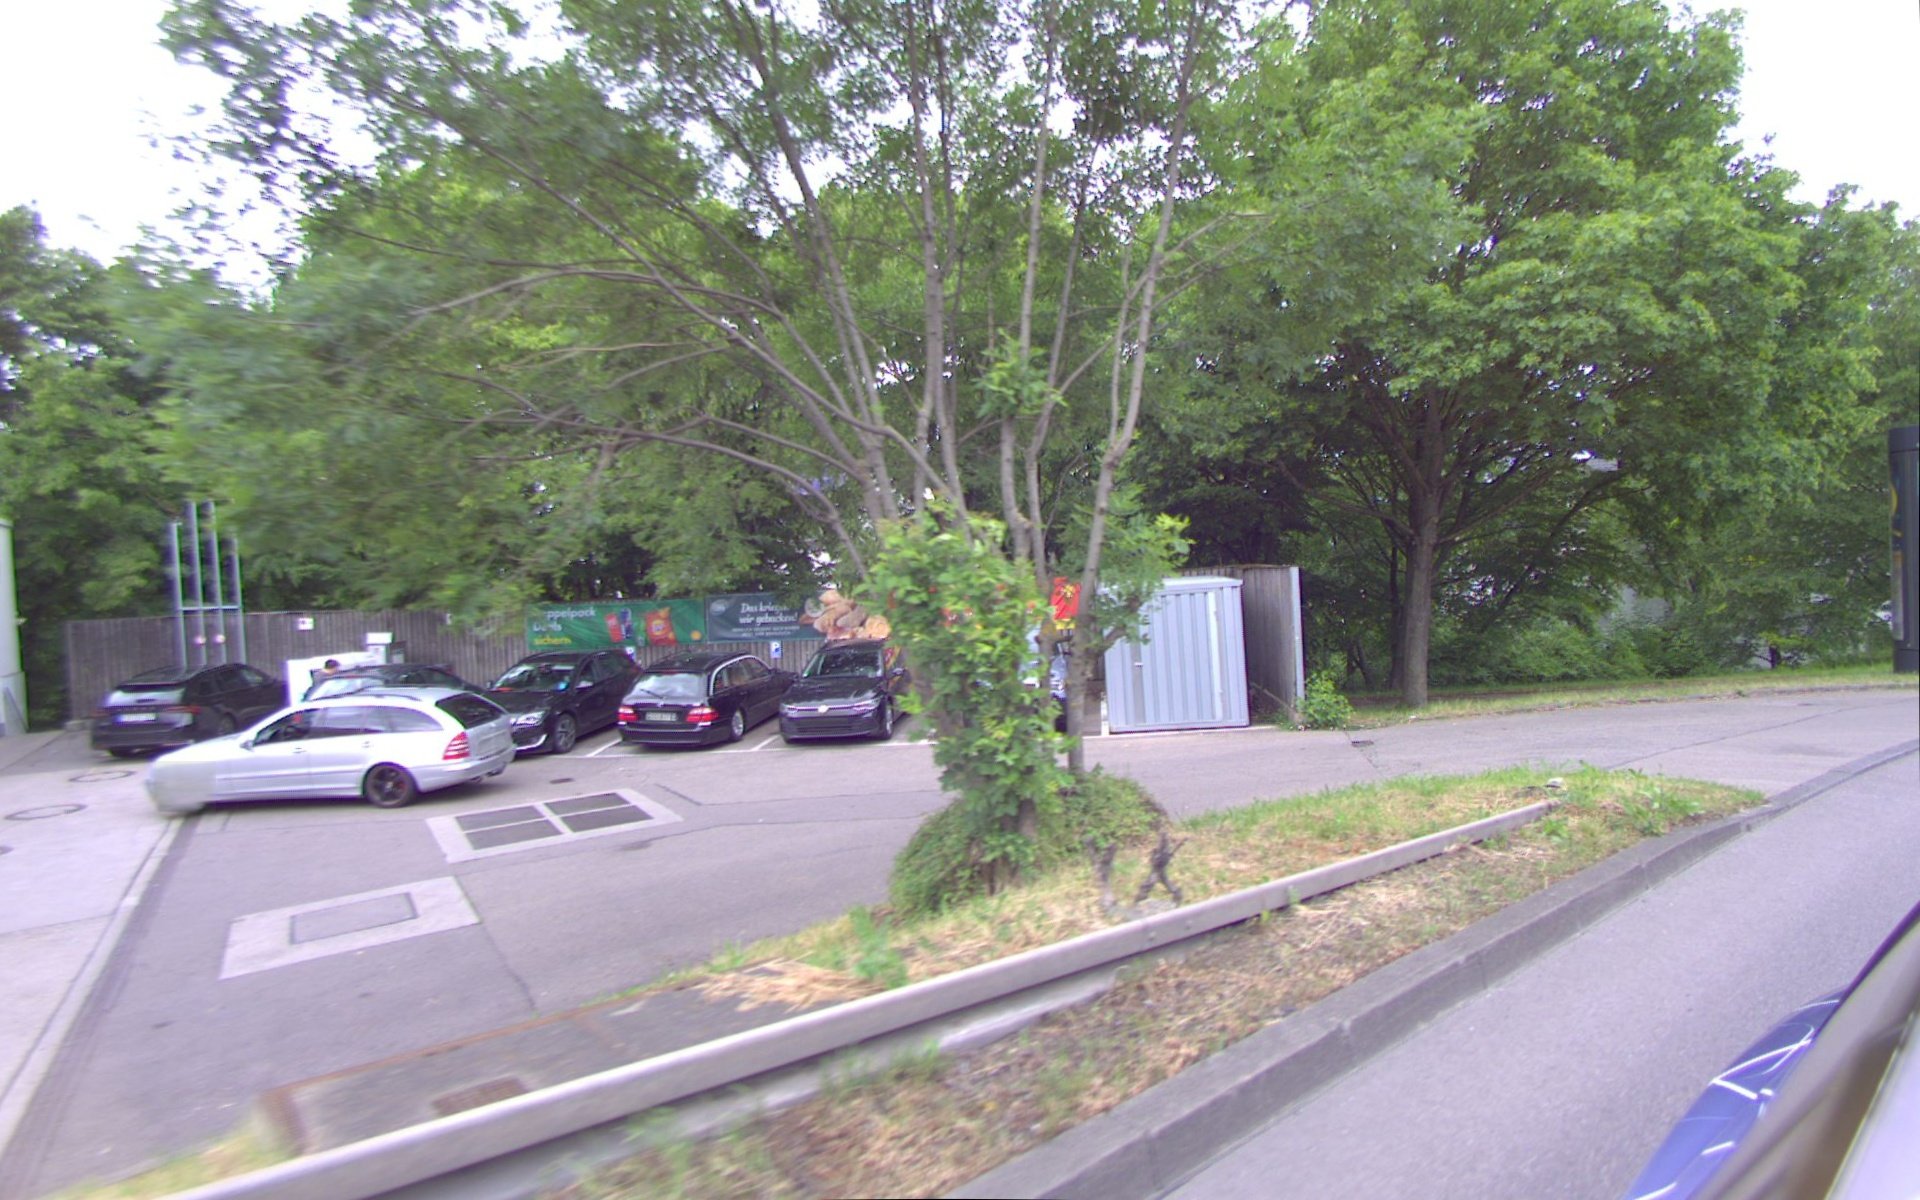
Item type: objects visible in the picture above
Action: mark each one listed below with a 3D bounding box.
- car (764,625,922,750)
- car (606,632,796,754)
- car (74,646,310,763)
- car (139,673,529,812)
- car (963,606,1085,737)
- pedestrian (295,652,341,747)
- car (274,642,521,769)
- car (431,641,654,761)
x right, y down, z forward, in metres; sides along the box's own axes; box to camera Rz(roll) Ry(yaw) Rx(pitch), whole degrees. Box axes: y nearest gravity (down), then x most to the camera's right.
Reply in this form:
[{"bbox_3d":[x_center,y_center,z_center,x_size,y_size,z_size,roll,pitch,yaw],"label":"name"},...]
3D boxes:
[{"bbox_3d":[-1.834,1.371,17.268,1.705,1.443,4.289,-4,3,6],"label":"car"},{"bbox_3d":[-4.368,1.522,17.815,1.705,1.453,4.287,-4,3,7],"label":"car"},{"bbox_3d":[-13.860,1.798,18.594,1.688,1.453,4.115,-2,3,-9],"label":"car"},{"bbox_3d":[-8.240,1.860,13.572,4.212,1.449,1.602,-2,2,1],"label":"car"},{"bbox_3d":[1.081,1.088,17.206,1.704,1.610,4.291,-4,3,4],"label":"car"},{"bbox_3d":[-10.910,1.689,17.206,0.461,1.559,0.430,-4,-3,5],"label":"pedestrian"},{"bbox_3d":[-9.513,1.707,17.549,1.601,1.538,4.095,-1,3,7],"label":"car"},{"bbox_3d":[-7.046,1.637,17.624,1.705,1.453,4.211,-1,3,7],"label":"car"}]
